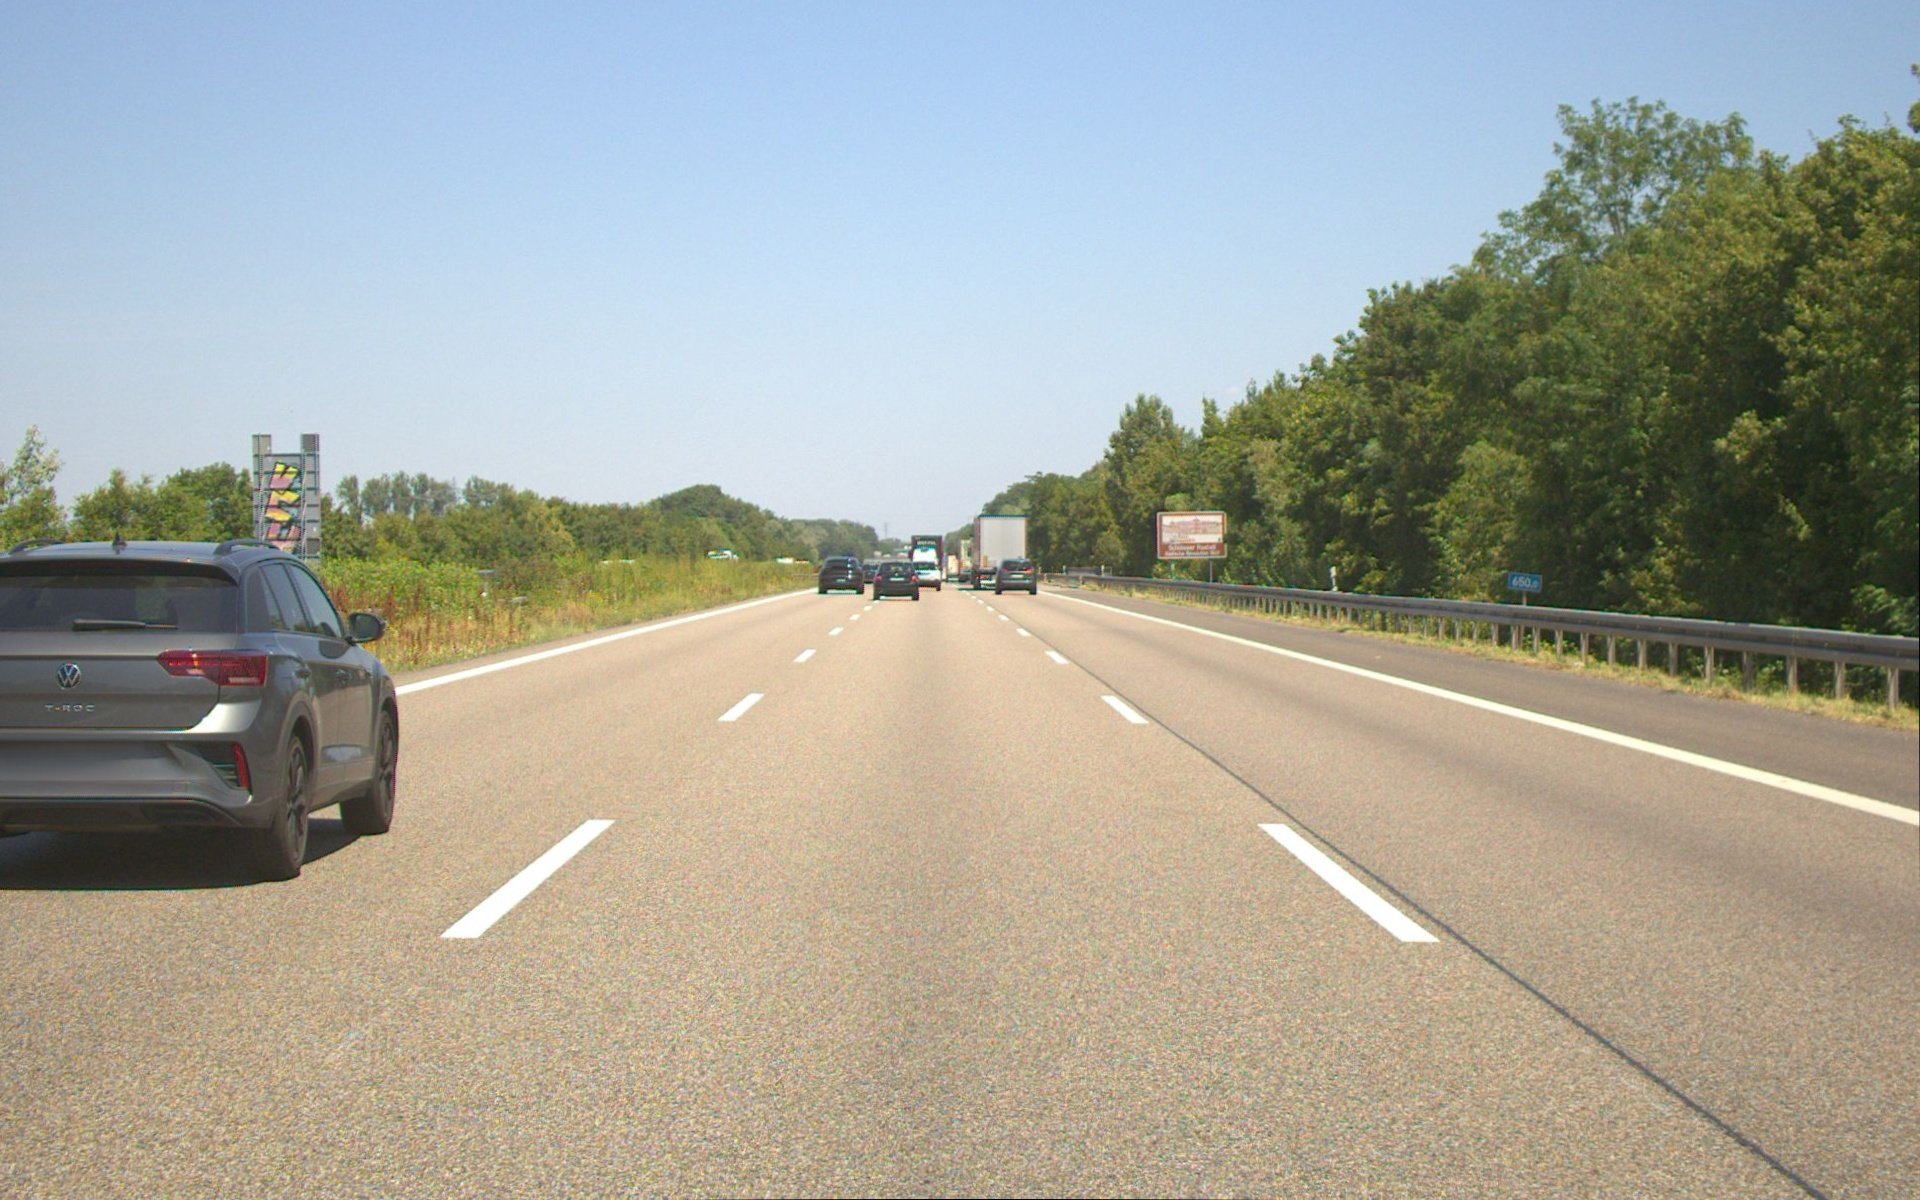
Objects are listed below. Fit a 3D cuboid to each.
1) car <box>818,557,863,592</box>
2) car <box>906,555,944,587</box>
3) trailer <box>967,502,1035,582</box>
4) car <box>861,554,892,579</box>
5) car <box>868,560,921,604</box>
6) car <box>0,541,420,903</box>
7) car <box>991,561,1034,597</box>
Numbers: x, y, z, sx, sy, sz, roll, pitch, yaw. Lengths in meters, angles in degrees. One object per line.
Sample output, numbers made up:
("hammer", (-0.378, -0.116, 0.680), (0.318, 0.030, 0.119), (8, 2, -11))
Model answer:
("car", (-5.327, -1.156, 153.896), (1.907, 1.525, 4.285), (1, 1, -1))
("car", (-1.795, -1.491, 174.847), (1.900, 1.525, 4.084), (1, 1, -1))
("trailer", (2.186, -3.100, 188.793), (3.434, 4.167, 13.632), (1, 0, 0))
("car", (-5.369, -2.169, 221.069), (1.907, 1.525, 4.285), (1, 1, -1))
("car", (-2.404, -0.676, 126.938), (1.900, 1.525, 4.084), (1, 1, -1))
("car", (-3.859, 0.487, 16.892), (1.759, 1.525, 4.285), (1, 1, -1))
("car", (2.372, -0.969, 156.223), (1.845, 1.623, 4.135), (-1, 1, 0))
